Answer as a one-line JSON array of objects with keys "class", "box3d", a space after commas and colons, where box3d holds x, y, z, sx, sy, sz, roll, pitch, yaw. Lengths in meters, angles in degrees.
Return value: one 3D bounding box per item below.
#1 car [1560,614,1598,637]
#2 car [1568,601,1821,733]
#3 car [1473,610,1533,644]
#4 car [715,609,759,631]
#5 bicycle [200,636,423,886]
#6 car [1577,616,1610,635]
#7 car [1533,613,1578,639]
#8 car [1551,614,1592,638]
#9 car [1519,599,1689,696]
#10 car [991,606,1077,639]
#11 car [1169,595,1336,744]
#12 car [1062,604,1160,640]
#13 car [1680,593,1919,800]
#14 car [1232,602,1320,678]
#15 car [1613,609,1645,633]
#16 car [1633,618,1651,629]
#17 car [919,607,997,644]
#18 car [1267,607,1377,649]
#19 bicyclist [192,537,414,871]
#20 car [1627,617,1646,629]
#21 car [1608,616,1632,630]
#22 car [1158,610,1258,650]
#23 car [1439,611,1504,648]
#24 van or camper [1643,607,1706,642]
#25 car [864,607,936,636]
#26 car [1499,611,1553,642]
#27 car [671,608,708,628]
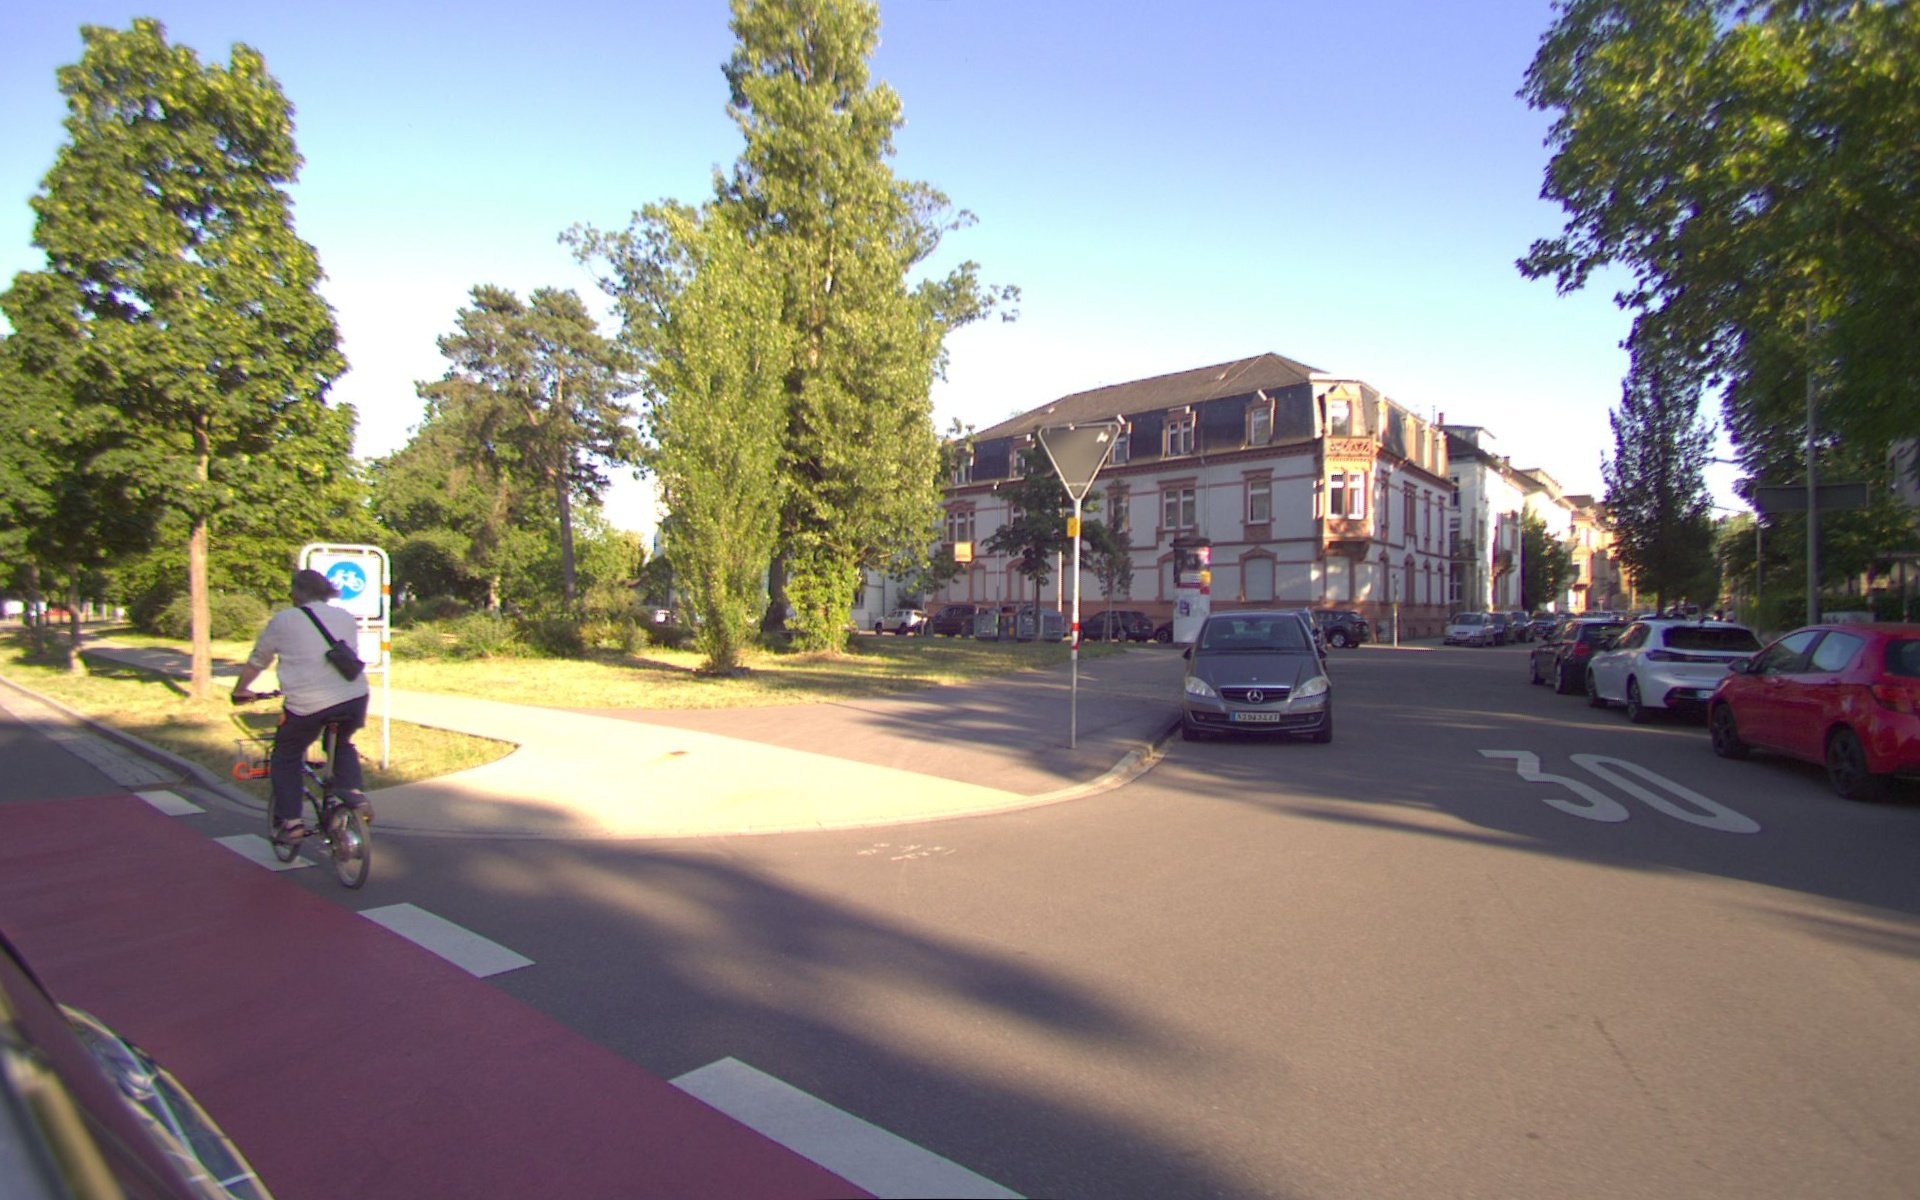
[{"class": "car", "box3d": [46.571, 1.900, 76.105, 1.889, 1.586, 3.947, 2, 0, 40]}, {"class": "car", "box3d": [10.451, 0.840, 14.780, 1.876, 1.586, 3.974, 2, 0, 19]}, {"class": "car", "box3d": [27.451, 1.320, 51.120, 1.889, 1.586, 3.947, 2, 0, 40]}, {"class": "car", "box3d": [-18.119, 1.635, 82.104, 1.859, 1.586, 4.611, 2, 0, -34]}, {"class": "bicycle", "box3d": [-3.858, 0.818, 5.928, 0.729, 1.144, 2.106, 1, -1, -43]}, {"class": "car", "box3d": [54.909, 2.178, 87.683, 1.889, 1.586, 3.947, 2, 0, 40]}, {"class": "car", "box3d": [39.484, 1.681, 67.056, 1.889, 1.586, 3.947, 2, 0, 40]}, {"class": "car", "box3d": [43.413, 1.802, 71.792, 1.889, 1.586, 3.947, 2, 0, 40]}, {"class": "car", "box3d": [12.185, 0.813, 19.429, 1.877, 1.586, 3.973, 2, 0, 20]}, {"class": "car", "box3d": [3.934, 1.192, 54.735, 1.862, 1.586, 4.605, 2, 0, -42]}, {"class": "car", "box3d": [3.851, 0.800, 13.410, 1.824, 1.643, 3.826, 1, -1, 16]}, {"class": "car", "box3d": [7.502, 1.062, 50.617, 4.601, 1.586, 1.863, 2, 0, 44]}, {"class": "car", "box3d": [8.694, 0.773, 9.472, 1.874, 1.586, 3.980, 2, 0, 15]}, {"class": "car", "box3d": [7.853, 0.930, 24.912, 1.827, 1.656, 4.247, 1, -1, 21]}, {"class": "car", "box3d": [60.310, 1.898, 91.228, 1.998, 2.029, 3.947, 0, -1, 39]}, {"class": "car", "box3d": [103.913, 3.545, 154.128, 1.889, 1.586, 3.947, 2, 0, 40]}, {"class": "car", "box3d": [-0.166, 1.468, 59.411, 1.861, 1.907, 4.986, 2, 0, -39]}, {"class": "car", "box3d": [15.425, 1.160, 43.254, 3.999, 1.586, 1.865, 2, 0, 41]}, {"class": "bicyclist", "box3d": [-3.806, 0.539, 5.866, 0.926, 1.715, 0.906, 1, -1, -43]}, {"class": "car", "box3d": [97.253, 3.333, 145.488, 1.889, 1.586, 3.947, 2, 0, 40]}, {"class": "car", "box3d": [79.815, 2.767, 122.345, 1.889, 1.586, 3.947, 2, 0, 40]}, {"class": "car", "box3d": [11.324, 1.344, 46.351, 4.000, 1.586, 1.864, 2, 0, 43]}, {"class": "car", "box3d": [24.213, 1.360, 47.835, 1.890, 1.586, 3.946, 2, 0, 40]}, {"class": "van or camper", "box3d": [55.523, 1.849, 78.823, 2.061, 2.569, 6.044, 2, 0, 16]}, {"class": "car", "box3d": [-3.786, 1.312, 63.331, 4.601, 1.586, 1.863, 2, 0, 44]}, {"class": "car", "box3d": [31.593, 1.450, 56.459, 1.889, 1.586, 3.947, 2, 0, 40]}, {"class": "car", "box3d": [-24.259, 1.599, 90.585, 1.859, 1.586, 4.612, 2, 0, -32]}]
